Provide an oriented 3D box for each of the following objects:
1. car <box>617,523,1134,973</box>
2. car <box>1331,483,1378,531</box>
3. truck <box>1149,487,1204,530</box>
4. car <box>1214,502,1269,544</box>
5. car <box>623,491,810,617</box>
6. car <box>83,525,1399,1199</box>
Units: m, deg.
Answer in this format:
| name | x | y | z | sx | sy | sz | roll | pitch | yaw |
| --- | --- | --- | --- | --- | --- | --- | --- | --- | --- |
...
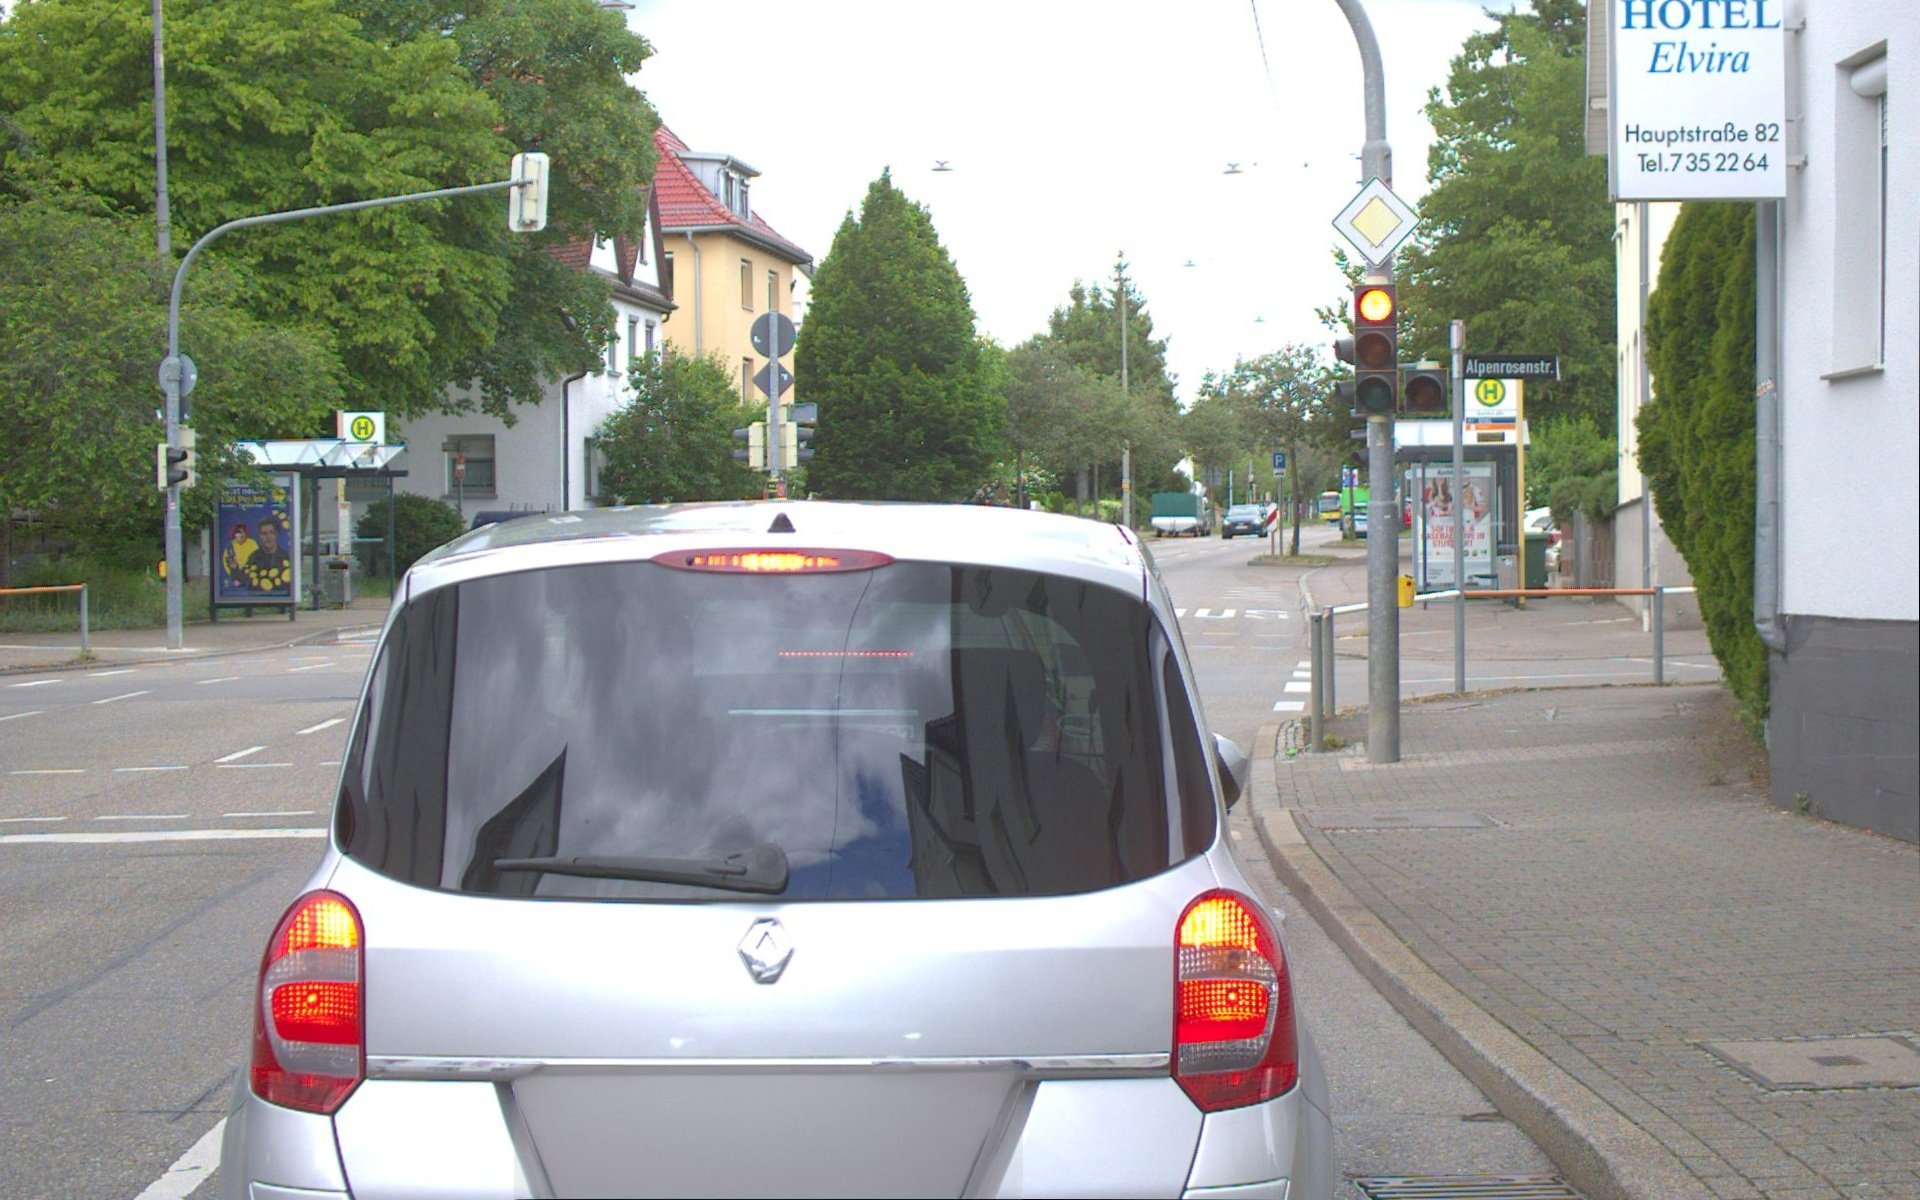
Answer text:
| name | x | y | z | sx | sy | sz | roll | pitch | yaw |
| --- | --- | --- | --- | --- | --- | --- | --- | --- | --- |
| car | -0.323 | 0.478 | 13.634 | 1.755 | 1.525 | 3.797 | 0 | 1 | -1 |
| car | 21.377 | -5.036 | 186.054 | 2.060 | 2.503 | 5.593 | 1 | 1 | 11 |
| truck | 10.490 | -4.431 | 166.505 | 2.102 | 2.007 | 5.745 | 1 | 1 | 9 |
| car | 12.057 | -3.297 | 147.073 | 1.858 | 1.742 | 3.998 | 1 | 1 | 11 |
| car | -3.788 | -0.747 | 54.191 | 1.927 | 1.767 | 3.999 | -4 | 1 | 10 |
| car | -0.330 | 0.637 | 6.606 | 1.755 | 1.525 | 4.000 | 0 | 1 | -1 |
